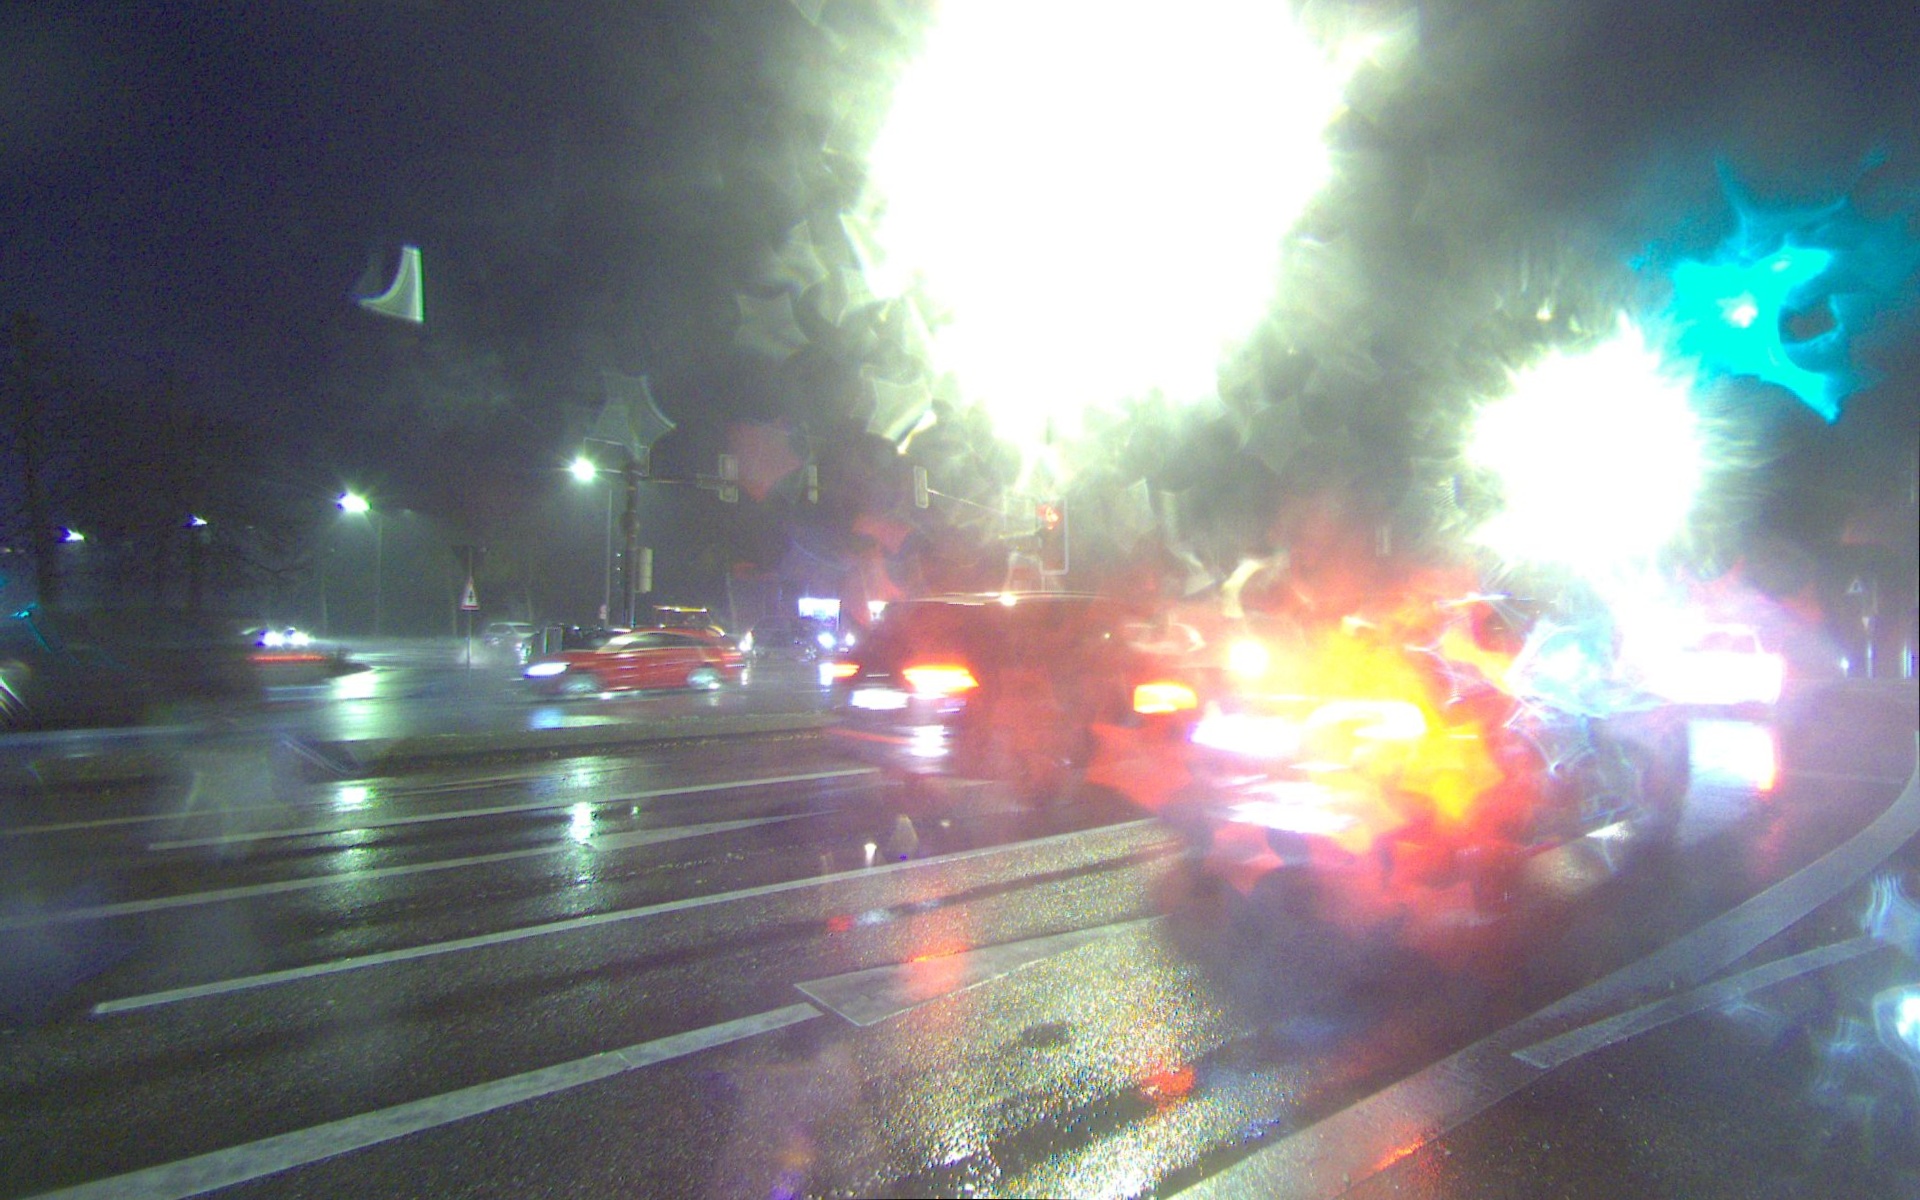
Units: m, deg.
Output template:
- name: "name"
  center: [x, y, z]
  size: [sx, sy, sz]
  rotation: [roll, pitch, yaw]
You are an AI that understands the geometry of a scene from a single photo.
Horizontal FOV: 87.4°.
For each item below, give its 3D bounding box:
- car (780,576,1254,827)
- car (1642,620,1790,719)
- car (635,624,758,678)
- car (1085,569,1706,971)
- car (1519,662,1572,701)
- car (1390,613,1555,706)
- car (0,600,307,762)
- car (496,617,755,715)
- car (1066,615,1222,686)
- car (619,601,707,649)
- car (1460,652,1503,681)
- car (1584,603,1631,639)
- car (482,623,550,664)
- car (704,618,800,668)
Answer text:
- name: "car"
  center: [0.645, 0.750, 8.753]
  size: [3.957, 1.680, 1.892]
  rotation: [2, -2, -42]
- name: "car"
  center: [13.150, 1.131, 17.370]
  size: [1.680, 1.482, 4.291]
  rotation: [0, -2, 42]
- name: "car"
  center: [-9.202, 1.723, 34.964]
  size: [4.191, 1.654, 1.951]
  rotation: [1, 0, 37]
- name: "car"
  center: [2.972, 0.741, 6.332]
  size: [4.442, 1.675, 1.813]
  rotation: [1, -1, -40]
- name: "car"
  center: [33.964, 4.691, 58.183]
  size: [1.794, 2.040, 3.977]
  rotation: [1, -1, 43]
- name: "car"
  center: [9.153, 1.007, 17.796]
  size: [1.637, 1.464, 3.771]
  rotation: [0, -2, 43]
- name: "car"
  center: [-11.043, 0.969, 12.999]
  size: [4.170, 1.859, 1.978]
  rotation: [2, -1, -38]
- name: "car"
  center: [-6.877, 1.266, 20.988]
  size: [4.751, 1.816, 2.010]
  rotation: [1, -1, -43]
- name: "car"
  center: [4.974, 1.328, 26.809]
  size: [4.430, 1.743, 1.883]
  rotation: [2, -3, -44]
- name: "car"
  center: [-13.719, 1.109, 46.338]
  size: [4.080, 2.051, 1.787]
  rotation: [1, 0, 37]
- name: "car"
  center: [36.431, 4.625, 70.113]
  size: [1.748, 1.795, 3.981]
  rotation: [1, -1, 40]
- name: "car"
  center: [39.742, 1.298, 61.612]
  size: [1.756, 2.106, 3.978]
  rotation: [2, 0, 42]
- name: "car"
  center: [-23.394, 2.259, 52.918]
  size: [3.551, 1.964, 1.707]
  rotation: [1, -1, 36]
- name: "car"
  center: [-8.802, 1.770, 42.371]
  size: [4.080, 1.878, 1.661]
  rotation: [1, 0, 37]
